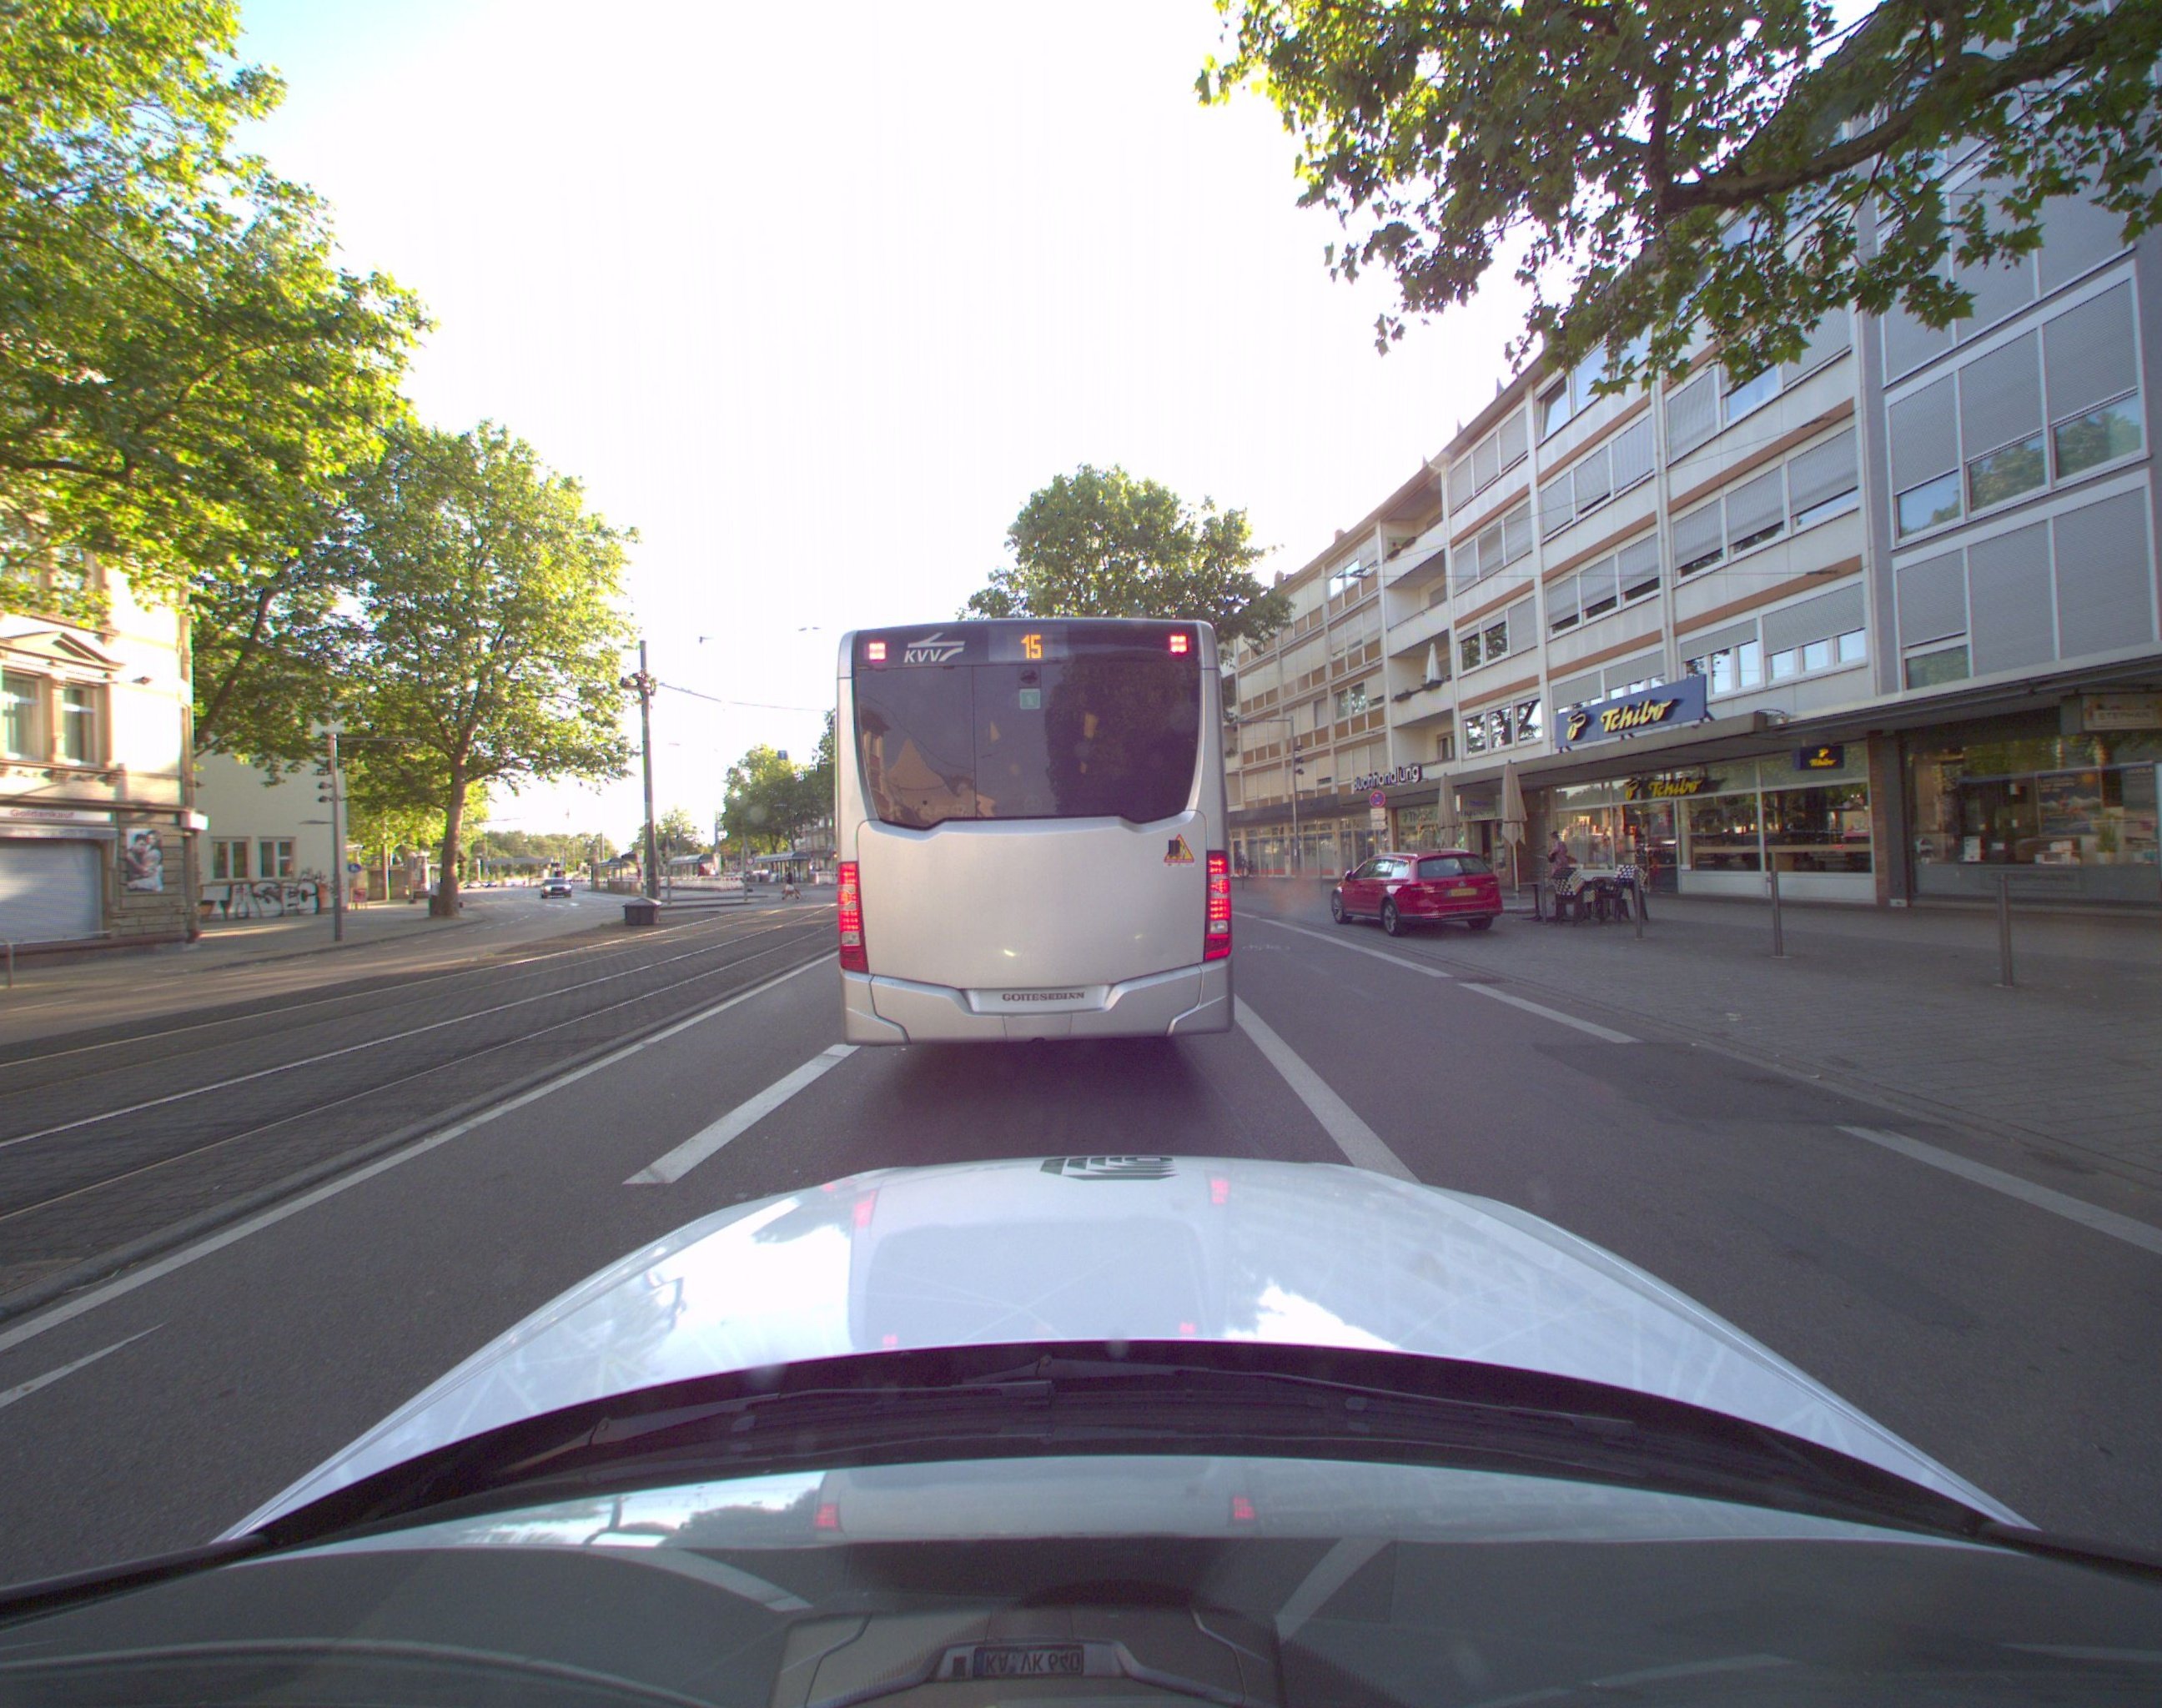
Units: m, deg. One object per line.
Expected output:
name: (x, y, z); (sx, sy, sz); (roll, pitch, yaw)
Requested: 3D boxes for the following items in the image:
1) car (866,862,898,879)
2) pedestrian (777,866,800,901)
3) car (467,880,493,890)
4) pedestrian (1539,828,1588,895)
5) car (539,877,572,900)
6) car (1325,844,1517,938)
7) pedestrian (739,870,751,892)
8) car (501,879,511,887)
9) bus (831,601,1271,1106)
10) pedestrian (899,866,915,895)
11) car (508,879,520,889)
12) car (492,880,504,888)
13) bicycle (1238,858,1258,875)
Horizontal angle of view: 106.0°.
car: (-21.748, 1.755, 88.908); (2.010, 1.792, 3.954); (0, -1, -39)
pedestrian: (-14.832, 1.477, 41.265); (0.893, 1.728, 0.518); (-2, -1, 3)
car: (-122.658, 6.313, 166.144); (1.768, 1.640, 4.024); (-3, -1, 44)
pedestrian: (12.113, 0.189, 20.463); (0.649, 1.592, 0.788); (-4, -1, -4)
car: (-40.052, 2.606, 62.073); (2.008, 1.640, 3.958); (-2, -1, -33)
car: (6.372, 0.637, 15.870); (1.765, 1.482, 4.300); (-3, 0, -2)
pedestrian: (-25.419, 2.036, 61.591); (0.661, 1.656, 0.438); (-2, -1, -41)
car: (-130.083, 6.461, 184.199); (1.858, 1.684, 3.676); (-2, -1, -35)
bus: (-0.168, 0.015, 9.949); (2.622, 3.028, 9.995); (-1, 0, 0)
pedestrian: (-8.949, 1.359, 41.981); (0.767, 1.450, 0.636); (0, -1, -8)
car: (-111.438, 5.888, 160.019); (1.858, 1.684, 3.677); (-4, 1, -35)
car: (-117.820, 6.076, 164.680); (1.858, 1.684, 3.676); (-2, -1, -35)
bicycle: (9.312, 0.712, 45.529); (0.413, 0.945, 1.431); (-2, -1, -18)
